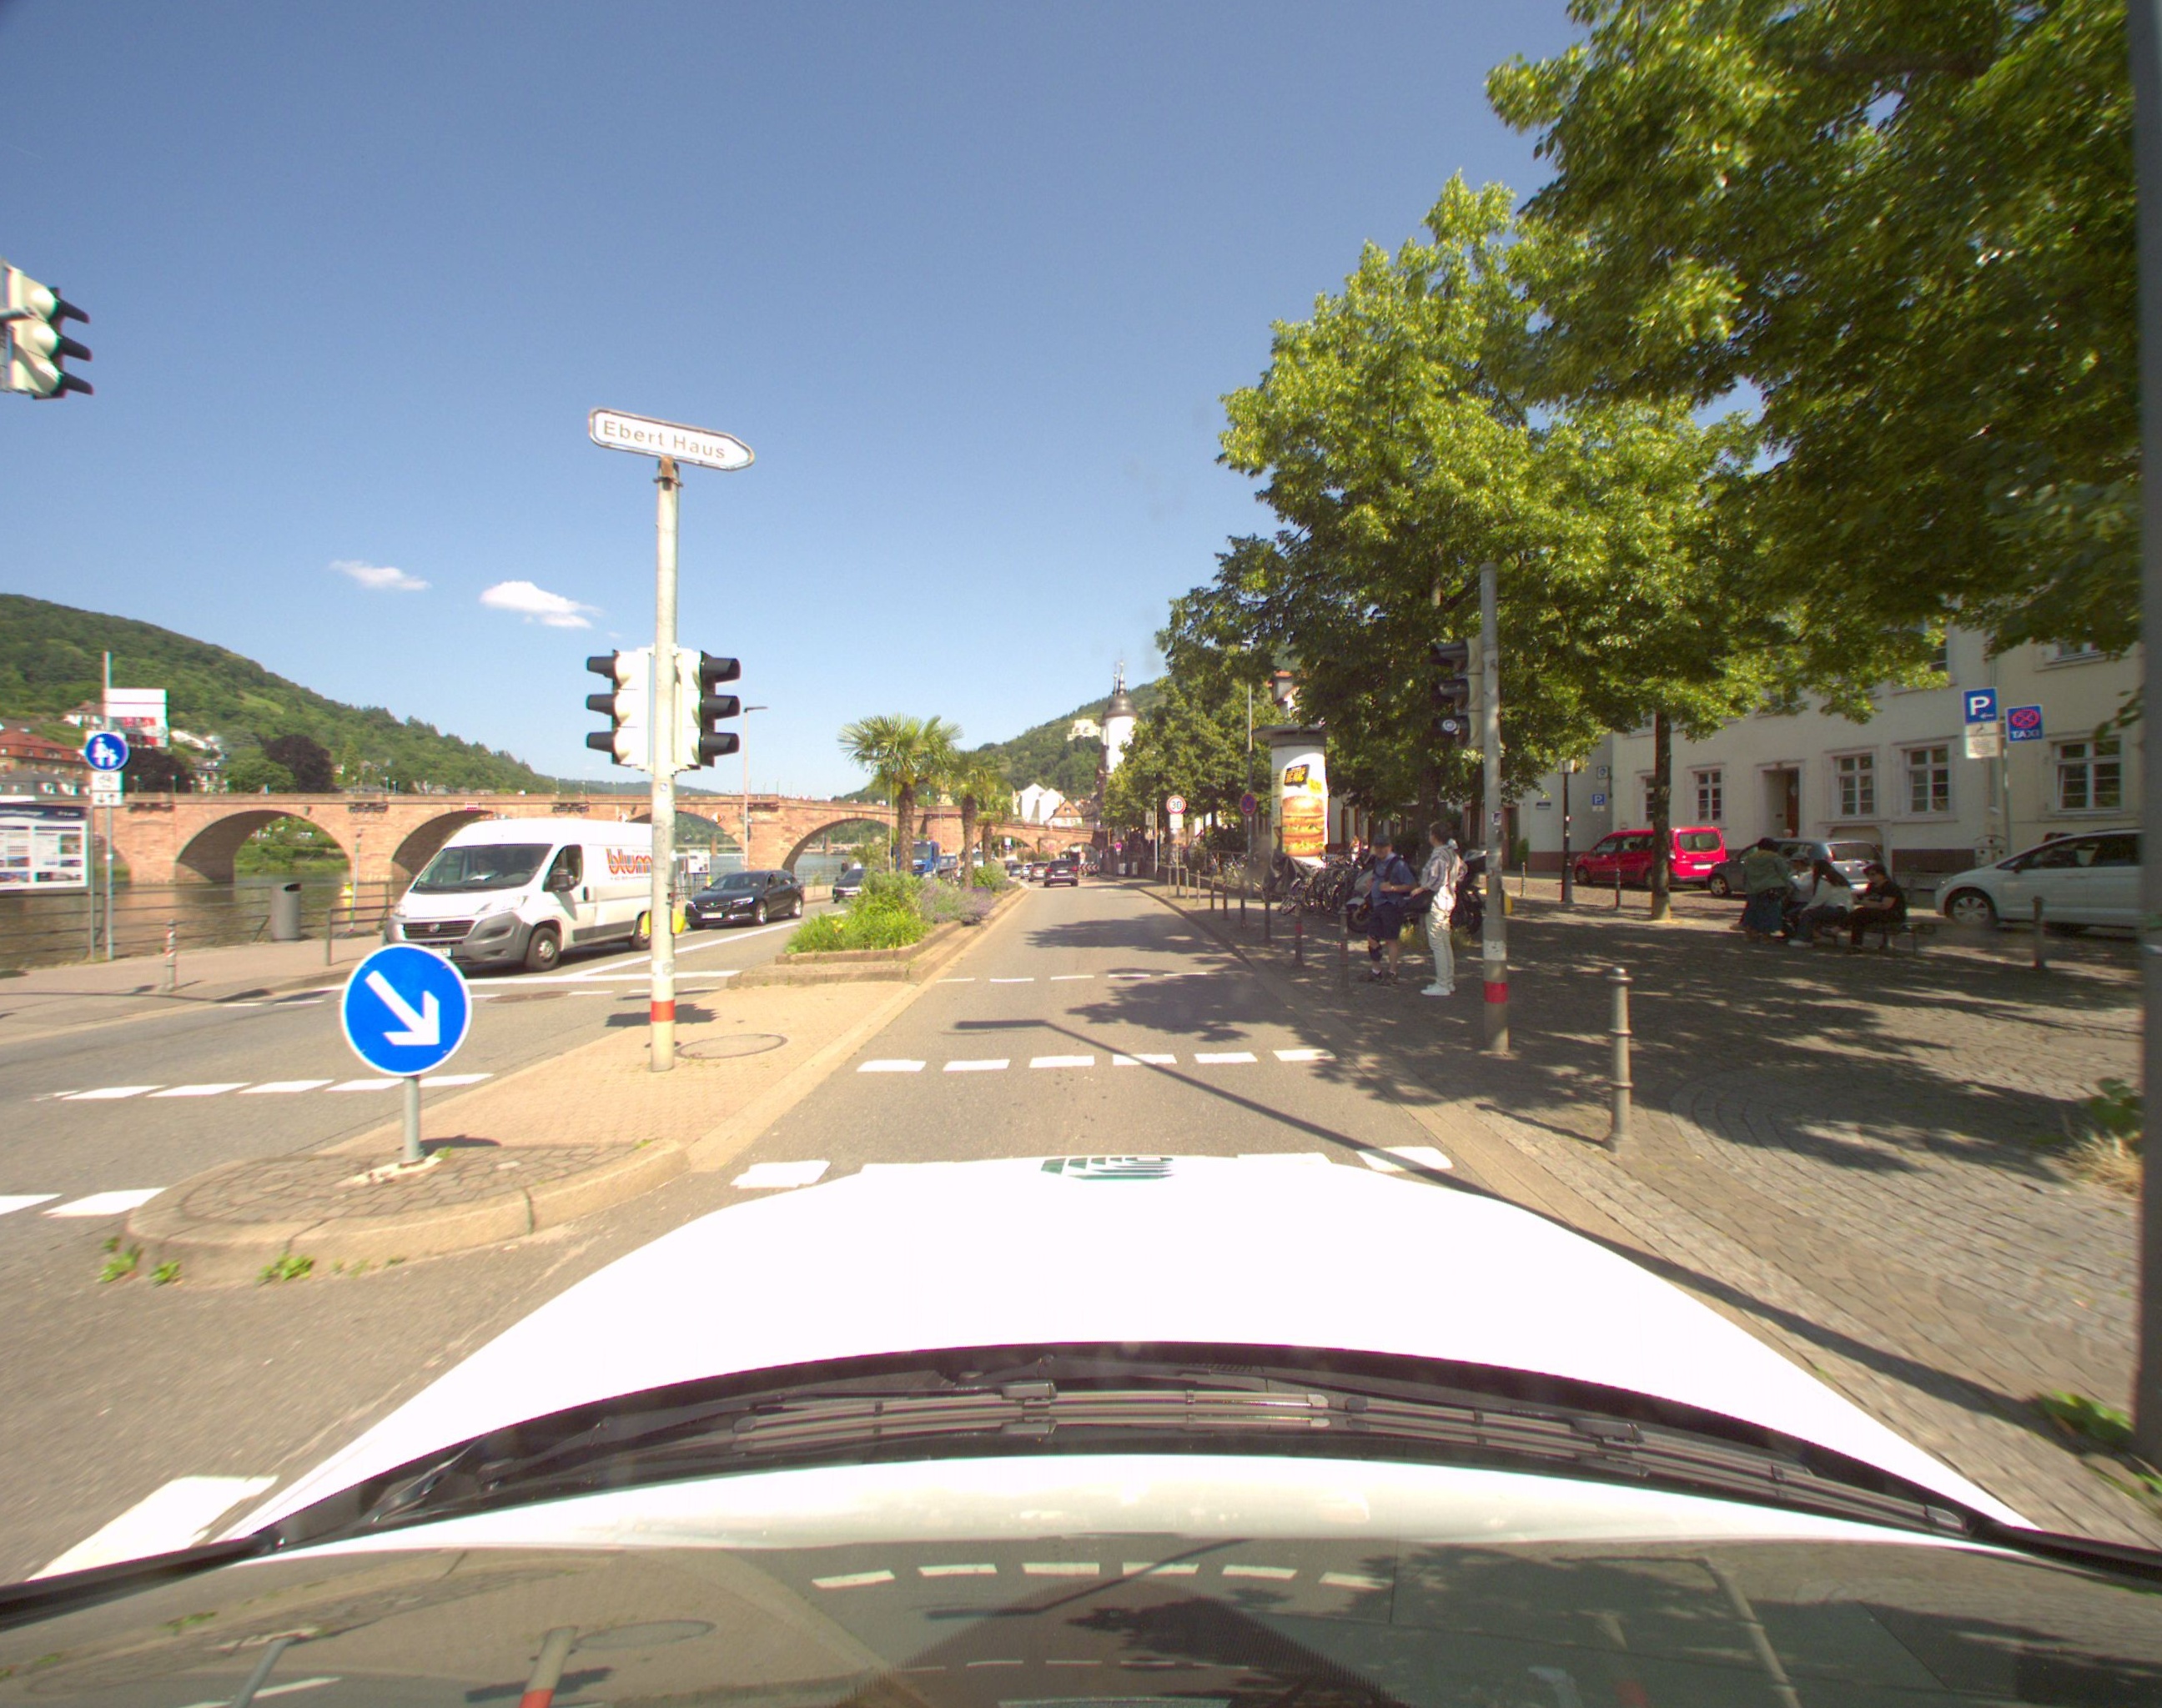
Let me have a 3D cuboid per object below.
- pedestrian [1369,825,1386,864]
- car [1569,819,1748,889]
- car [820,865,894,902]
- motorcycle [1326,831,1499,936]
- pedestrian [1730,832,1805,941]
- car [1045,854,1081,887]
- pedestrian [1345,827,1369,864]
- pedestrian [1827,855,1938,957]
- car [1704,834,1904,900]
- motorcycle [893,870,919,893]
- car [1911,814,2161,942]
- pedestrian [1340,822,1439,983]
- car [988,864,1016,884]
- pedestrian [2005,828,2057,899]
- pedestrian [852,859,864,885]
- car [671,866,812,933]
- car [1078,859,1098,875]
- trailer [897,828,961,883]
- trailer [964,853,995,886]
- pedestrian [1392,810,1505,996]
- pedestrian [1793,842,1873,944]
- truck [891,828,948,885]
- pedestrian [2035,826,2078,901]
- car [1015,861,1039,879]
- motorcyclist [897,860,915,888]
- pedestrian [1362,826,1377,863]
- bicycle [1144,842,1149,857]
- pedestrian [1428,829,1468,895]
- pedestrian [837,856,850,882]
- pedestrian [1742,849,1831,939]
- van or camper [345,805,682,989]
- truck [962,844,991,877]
[{"bbox_3d":[15.613,-0.488,42.881,0.632,2.013,0.644,-1,0,0],"label":"pedestrian"},{"bbox_3d":[17.177,-0.039,24.560,1.989,1.902,4.629,-1,1,-3],"label":"car"},{"bbox_3d":[-9.578,1.229,35.157,1.945,1.413,4.219,-3,-1,1],"label":"car"},{"bbox_3d":[5.020,0.438,12.441,2.269,1.465,0.769,-2,-1,40],"label":"motorcycle"},{"bbox_3d":[9.899,0.453,11.755,0.459,1.517,0.688,0,0,-8],"label":"pedestrian"},{"bbox_3d":[-1.035,0.877,45.542,1.921,1.553,4.829,-1,1,-2],"label":"car"},{"bbox_3d":[14.257,-0.435,42.023,0.965,1.915,0.747,-1,0,0],"label":"pedestrian"},{"bbox_3d":[10.413,0.645,10.599,0.693,1.252,0.762,-1,0,-9],"label":"pedestrian"},{"bbox_3d":[17.256,0.289,19.664,1.671,1.432,3.467,-1,0,-3],"label":"car"},{"bbox_3d":[-9.449,1.472,44.148,0.754,1.131,2.457,-1,0,3],"label":"motorcycle"},{"bbox_3d":[15.507,0.320,12.041,1.764,1.728,4.566,1,1,-1],"label":"car"},{"bbox_3d":[3.403,0.510,9.035,0.693,1.677,0.762,-2,1,-9],"label":"pedestrian"},{"bbox_3d":[-6.719,1.672,69.911,1.987,1.553,4.831,-1,1,-1],"label":"car"},{"bbox_3d":[21.118,0.206,18.110,0.570,1.562,0.537,0,0,-9],"label":"pedestrian"},{"bbox_3d":[-15.653,1.274,57.221,0.761,1.780,0.694,0,0,-9],"label":"pedestrian"},{"bbox_3d":[-9.161,1.154,22.482,1.813,1.455,4.926,-3,0,-1],"label":"car"},{"bbox_3d":[0.746,1.350,84.802,1.711,1.596,3.900,-1,0,5],"label":"car"},{"bbox_3d":[-10.102,0.084,55.134,2.649,3.403,8.824,-1,0,0],"label":"trailer"},{"bbox_3d":[-11.322,1.672,91.516,2.652,3.403,10.157,-1,0,-3],"label":"trailer"},{"bbox_3d":[3.721,0.471,8.293,0.693,1.771,0.762,-2,1,-9],"label":"pedestrian"},{"bbox_3d":[10.521,0.539,11.404,0.625,1.382,0.540,1,0,-9],"label":"pedestrian"},{"bbox_3d":[-10.059,0.115,51.112,2.650,3.403,4.448,-1,0,-1],"label":"truck"},{"bbox_3d":[20.711,0.191,17.299,0.411,1.562,0.405,-2,1,-9],"label":"pedestrian"},{"bbox_3d":[-5.158,1.510,78.671,1.987,1.553,4.831,-1,1,-1],"label":"car"},{"bbox_3d":[-9.454,1.061,44.056,0.733,1.470,1.012,-1,0,2],"label":"motorcyclist"},{"bbox_3d":[15.922,-0.519,44.901,0.584,2.013,0.596,0,0,-2],"label":"pedestrian"},{"bbox_3d":[4.729,-0.323,58.530,0.354,1.096,1.491,1,0,5],"label":"bicycle"},{"bbox_3d":[9.322,0.197,20.707,0.705,1.653,0.707,-1,0,-1],"label":"pedestrian"},{"bbox_3d":[-16.640,1.072,57.086,0.761,1.780,0.694,0,0,-9],"label":"pedestrian"},{"bbox_3d":[10.442,0.580,12.075,0.625,1.281,0.752,1,0,-9],"label":"pedestrian"},{"bbox_3d":[-9.129,0.606,13.931,1.989,2.450,5.489,-2,0,-2],"label":"van or camper"},{"bbox_3d":[-11.051,0.657,86.538,2.652,3.403,5.129,-1,0,-3],"label":"truck"}]
